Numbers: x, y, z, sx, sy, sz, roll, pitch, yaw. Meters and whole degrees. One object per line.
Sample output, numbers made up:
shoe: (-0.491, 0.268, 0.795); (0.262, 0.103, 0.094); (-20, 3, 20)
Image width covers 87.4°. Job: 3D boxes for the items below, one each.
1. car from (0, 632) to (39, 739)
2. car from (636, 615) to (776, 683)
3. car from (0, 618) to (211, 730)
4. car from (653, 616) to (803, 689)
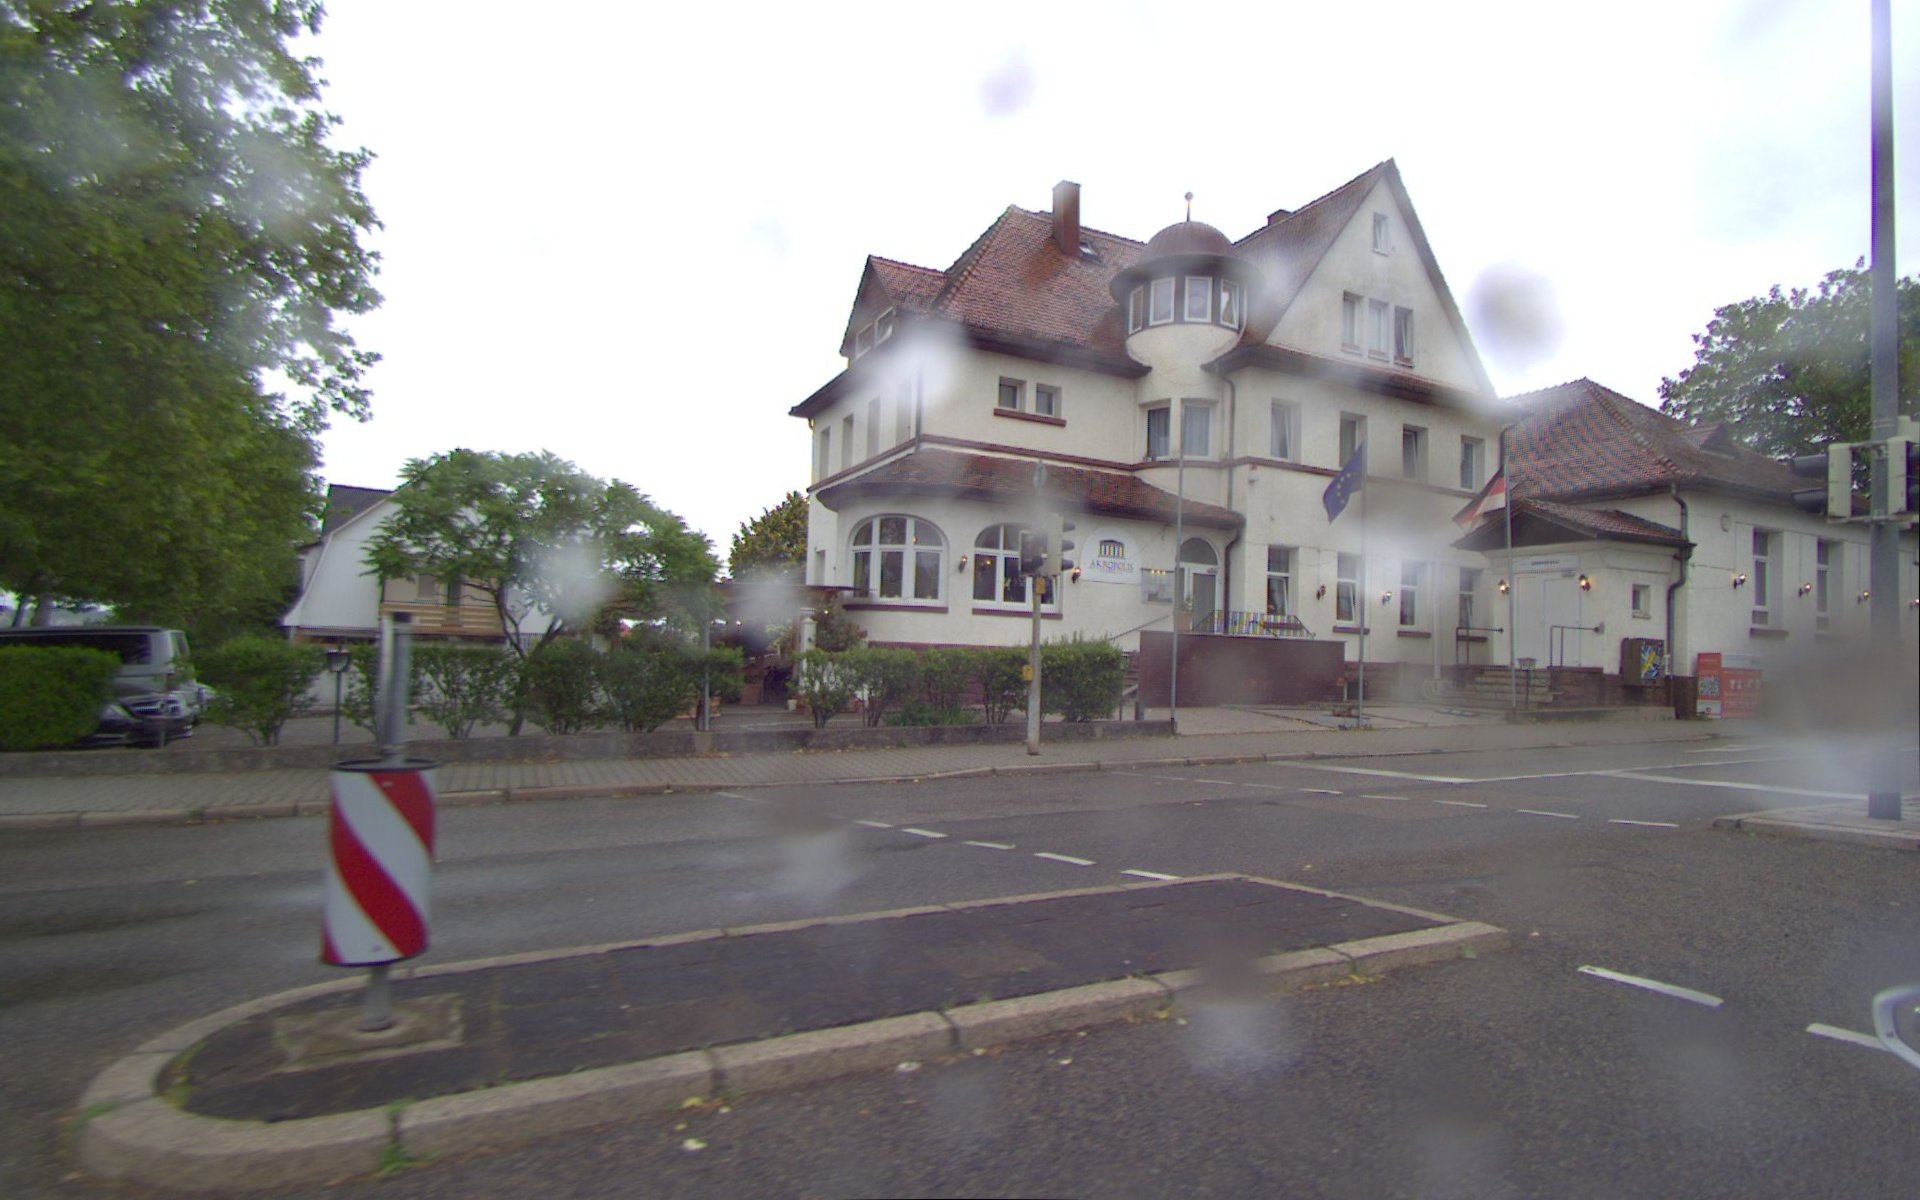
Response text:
car: (-16.686, 1.375, 14.978); (3.949, 1.573, 1.801); (-2, 1, -28)
car: (-8.192, 1.588, 32.412); (3.953, 2.040, 1.984); (3, -1, -30)
car: (-16.076, 1.292, 18.000); (3.949, 1.786, 1.801); (-2, 1, -28)
car: (-6.972, 1.587, 30.267); (3.953, 2.040, 1.984); (3, -1, -30)
